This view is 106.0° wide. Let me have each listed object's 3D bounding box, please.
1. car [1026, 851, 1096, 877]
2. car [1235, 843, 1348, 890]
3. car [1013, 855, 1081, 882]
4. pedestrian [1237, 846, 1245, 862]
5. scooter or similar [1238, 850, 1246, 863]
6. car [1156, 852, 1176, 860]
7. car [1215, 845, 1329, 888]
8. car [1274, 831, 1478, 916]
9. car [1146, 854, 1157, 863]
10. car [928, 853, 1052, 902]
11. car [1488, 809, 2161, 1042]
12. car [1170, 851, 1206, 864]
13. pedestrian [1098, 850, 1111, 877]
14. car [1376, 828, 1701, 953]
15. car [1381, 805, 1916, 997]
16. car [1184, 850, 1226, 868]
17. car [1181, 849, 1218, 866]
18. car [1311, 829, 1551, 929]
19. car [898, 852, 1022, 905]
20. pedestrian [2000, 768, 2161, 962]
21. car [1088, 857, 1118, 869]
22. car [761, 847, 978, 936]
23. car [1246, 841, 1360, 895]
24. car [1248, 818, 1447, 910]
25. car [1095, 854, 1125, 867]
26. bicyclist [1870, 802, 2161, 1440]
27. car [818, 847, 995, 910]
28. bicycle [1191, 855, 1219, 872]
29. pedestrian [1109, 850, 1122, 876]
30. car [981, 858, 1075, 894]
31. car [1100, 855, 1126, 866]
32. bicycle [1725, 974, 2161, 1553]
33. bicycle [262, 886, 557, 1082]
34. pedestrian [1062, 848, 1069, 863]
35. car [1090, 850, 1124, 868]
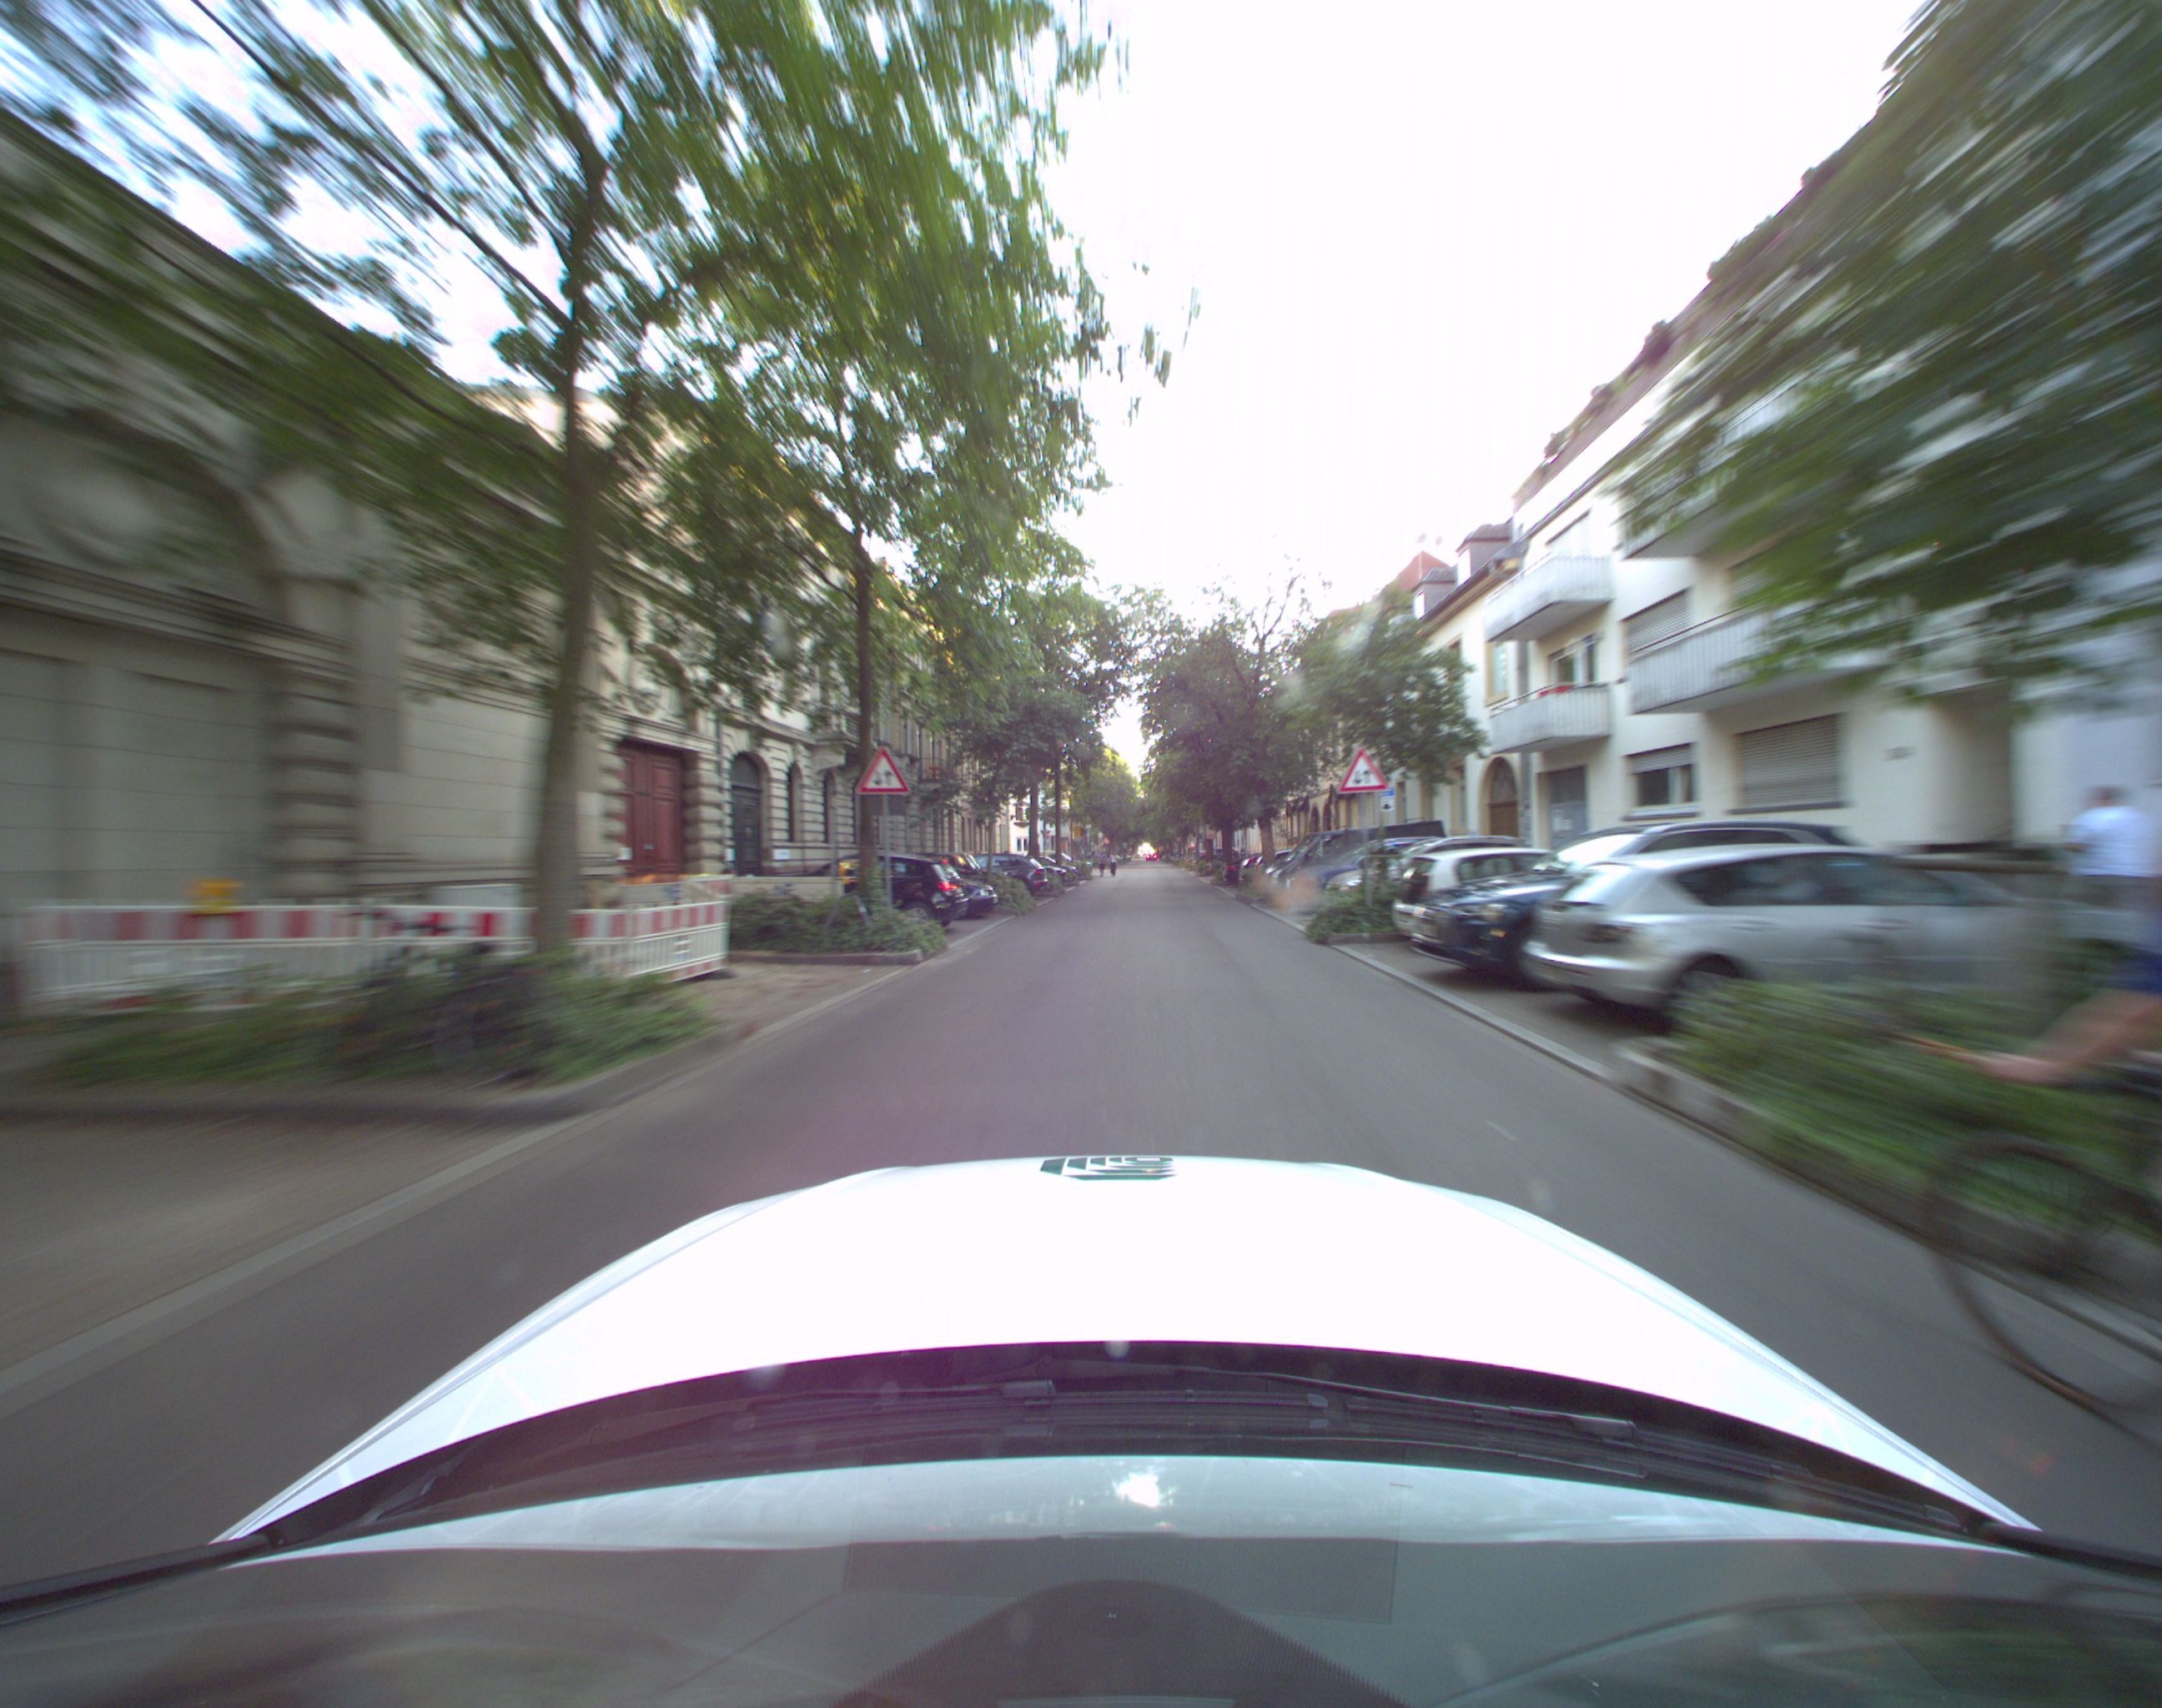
[{"bbox_3d":[-1.301,0.621,53.689,4.404,1.651,1.875,0,1,5],"label":"car"},{"bbox_3d":[8.255,0.485,32.234,3.971,1.437,1.928,-5,-1,2],"label":"car"},{"bbox_3d":[-1.899,0.798,46.299,3.676,1.458,1.875,0,1,3],"label":"car"},{"bbox_3d":[15.108,-0.008,76.920,0.651,1.536,0.832,-2,0,5],"label":"pedestrian"},{"bbox_3d":[15.054,0.217,76.222,0.651,1.153,0.832,-2,0,5],"label":"scooter or similar"},{"bbox_3d":[18.811,0.490,179.917,4.249,1.565,1.965,-3,-1,4],"label":"car"},{"bbox_3d":[8.102,0.532,34.777,4.383,1.394,1.887,-5,-1,2],"label":"car"},{"bbox_3d":[6.957,0.451,19.592,4.139,1.578,1.971,-5,-1,2],"label":"car"},{"bbox_3d":[13.794,0.839,159.154,1.947,1.565,4.288,-3,-1,5],"label":"car"},{"bbox_3d":[-3.235,0.817,29.488,4.182,1.672,1.910,0,1,4],"label":"car"},{"bbox_3d":[6.005,0.560,6.978,4.053,1.429,1.821,-5,-1,6],"label":"car"},{"bbox_3d":[14.263,0.466,108.560,4.694,1.710,1.953,-1,0,6],"label":"car"},{"bbox_3d":[1.552,0.620,54.254,0.791,1.737,0.832,-2,0,3],"label":"pedestrian"},{"bbox_3d":[6.618,0.514,12.107,3.777,1.423,1.699,-5,-1,3],"label":"car"},{"bbox_3d":[6.086,0.488,9.247,4.571,1.578,1.946,-5,-1,3],"label":"car"},{"bbox_3d":[11.154,0.438,73.235,3.470,1.452,1.900,-3,0,2],"label":"car"},{"bbox_3d":[11.867,0.356,81.811,3.470,1.452,1.900,-3,0,2],"label":"car"},{"bbox_3d":[6.884,0.482,16.371,3.949,1.578,1.853,-5,-1,3],"label":"car"},{"bbox_3d":[-3.965,0.790,27.126,3.785,1.672,1.716,0,1,3],"label":"car"},{"bbox_3d":[9.928,0.102,8.030,0.694,1.795,0.882,-2,0,5],"label":"pedestrian"},{"bbox_3d":[2.940,1.178,109.453,3.851,1.486,1.760,-1,0,6],"label":"car"},{"bbox_3d":[-4.332,0.742,17.050,3.947,1.596,1.783,2,0,4],"label":"car"},{"bbox_3d":[8.015,0.495,29.639,3.663,1.578,1.716,-5,-1,5],"label":"car"},{"bbox_3d":[7.131,0.268,22.208,4.669,2.011,2.039,-5,-1,3],"label":"car"},{"bbox_3d":[4.697,1.033,130.188,4.661,1.854,1.965,-3,-1,4],"label":"car"},{"bbox_3d":[2.671,0.570,2.034,0.669,1.363,0.777,0,0,4],"label":"bicyclist"},{"bbox_3d":[-4.302,0.575,20.439,3.946,1.387,1.767,2,1,5],"label":"car"},{"bbox_3d":[8.925,0.650,58.529,1.835,1.135,0.743,-3,0,-6],"label":"bicycle"},{"bbox_3d":[2.313,0.601,54.116,0.791,1.670,0.832,-2,0,3],"label":"pedestrian"},{"bbox_3d":[-2.319,0.957,36.459,3.928,1.532,1.909,-1,-1,3],"label":"car"},{"bbox_3d":[5.441,1.099,137.888,4.184,1.635,1.965,-3,-1,4],"label":"car"},{"bbox_3d":[2.666,0.973,2.043,0.669,1.030,1.980,0,0,5],"label":"bicycle"},{"bbox_3d":[-4.557,0.848,5.557,1.760,1.232,0.501,-1,-1,9],"label":"bicycle"},{"bbox_3d":[-1.772,0.210,92.904,0.700,1.728,0.906,-1,-1,4],"label":"pedestrian"},{"bbox_3d":[3.769,0.764,117.772,4.661,2.478,2.002,-1,-1,4],"label":"car"}]
